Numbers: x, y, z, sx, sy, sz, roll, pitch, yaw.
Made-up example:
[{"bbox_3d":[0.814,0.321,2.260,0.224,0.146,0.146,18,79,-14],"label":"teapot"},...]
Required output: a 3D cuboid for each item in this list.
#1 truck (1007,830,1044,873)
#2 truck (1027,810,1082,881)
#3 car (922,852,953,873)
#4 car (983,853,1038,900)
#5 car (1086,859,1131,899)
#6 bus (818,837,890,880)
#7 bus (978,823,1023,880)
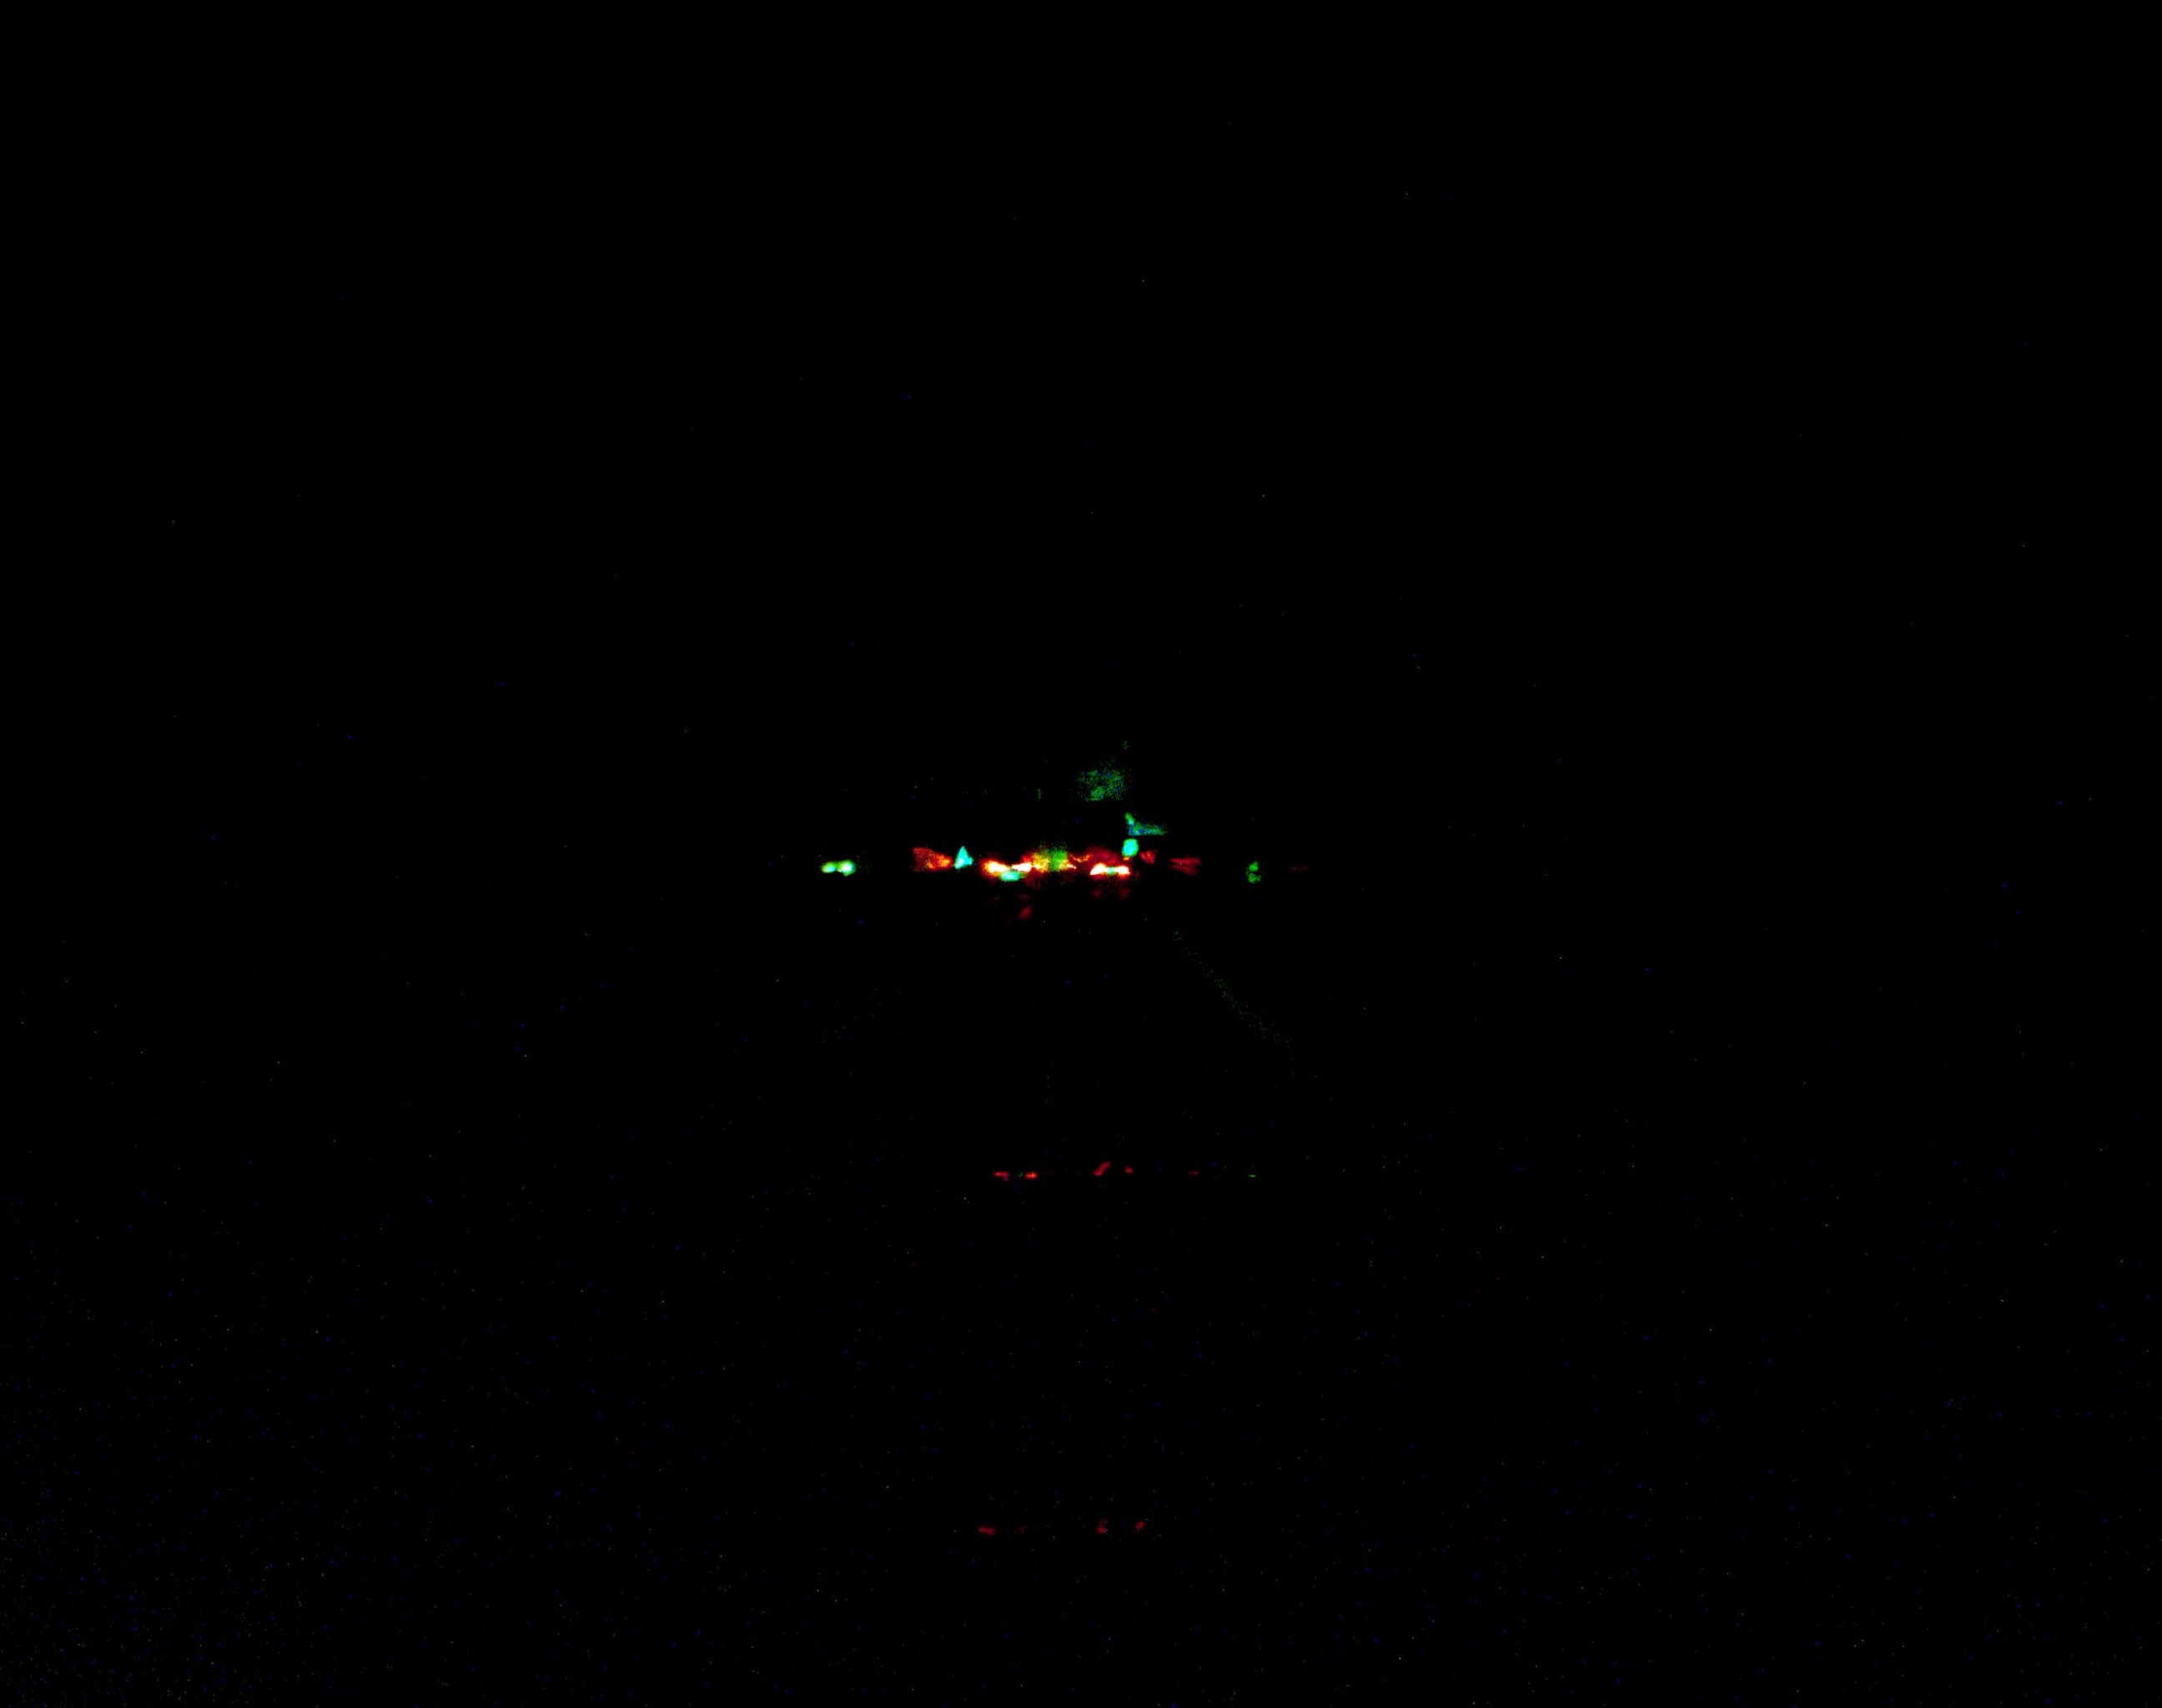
[{"bbox_3d":[-7.614,-0.247,113.106,4.195,5.648,11.469,0,0,1],"label":"truck"},{"bbox_3d":[-2.085,-0.659,70.303,4.195,5.648,11.469,0,0,1],"label":"truck"},{"bbox_3d":[-11.063,0.659,62.949,1.990,1.596,3.993,0,0,-5],"label":"car"},{"bbox_3d":[-3.131,0.968,37.090,2.119,2.014,4.644,0,0,-1],"label":"car"},{"bbox_3d":[1.297,1.143,38.652,1.986,1.807,4.001,0,0,1],"label":"car"},{"bbox_3d":[-25.531,0.503,92.963,3.063,4.490,17.018,0,0,2],"label":"bus"},{"bbox_3d":[-6.786,-0.183,70.338,3.089,4.508,10.905,0,0,-2],"label":"bus"}]
